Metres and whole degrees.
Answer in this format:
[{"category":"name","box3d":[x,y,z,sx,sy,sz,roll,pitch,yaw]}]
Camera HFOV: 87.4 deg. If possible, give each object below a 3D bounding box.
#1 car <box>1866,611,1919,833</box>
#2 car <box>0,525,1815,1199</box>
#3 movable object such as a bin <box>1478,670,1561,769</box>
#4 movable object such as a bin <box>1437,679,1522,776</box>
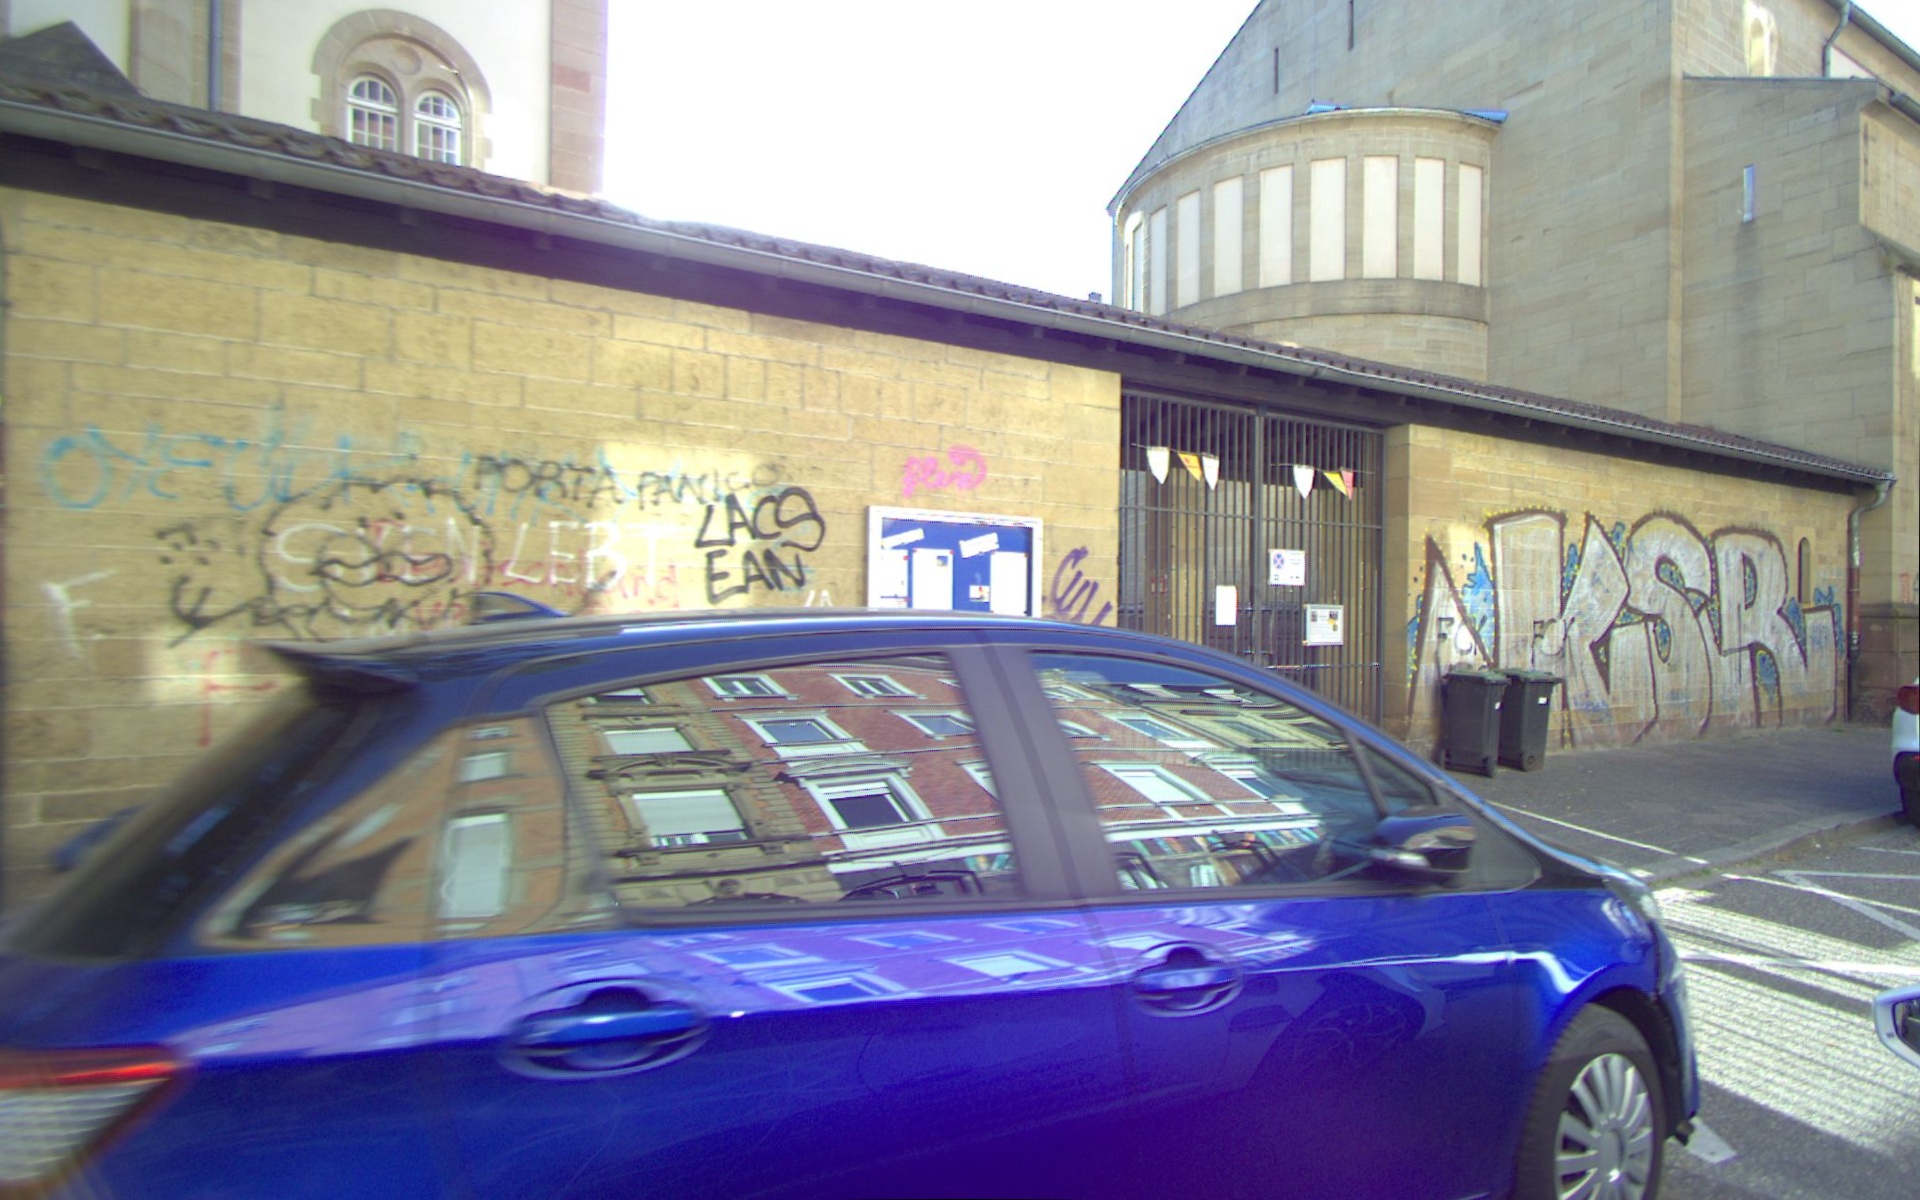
[{"category":"car","box3d":[8.893,0.911,7.763,3.823,1.607,1.734,1,-1,-30]},{"category":"car","box3d":[0.243,0.744,2.495,3.815,1.496,1.680,1,-3,-31]},{"category":"movable object such as a bin","box3d":[5.364,1.129,9.633,0.564,0.887,0.479,1,-1,-30]},{"category":"movable object such as a bin","box3d":[4.781,1.154,9.247,0.583,0.818,0.451,1,-1,-30]}]
